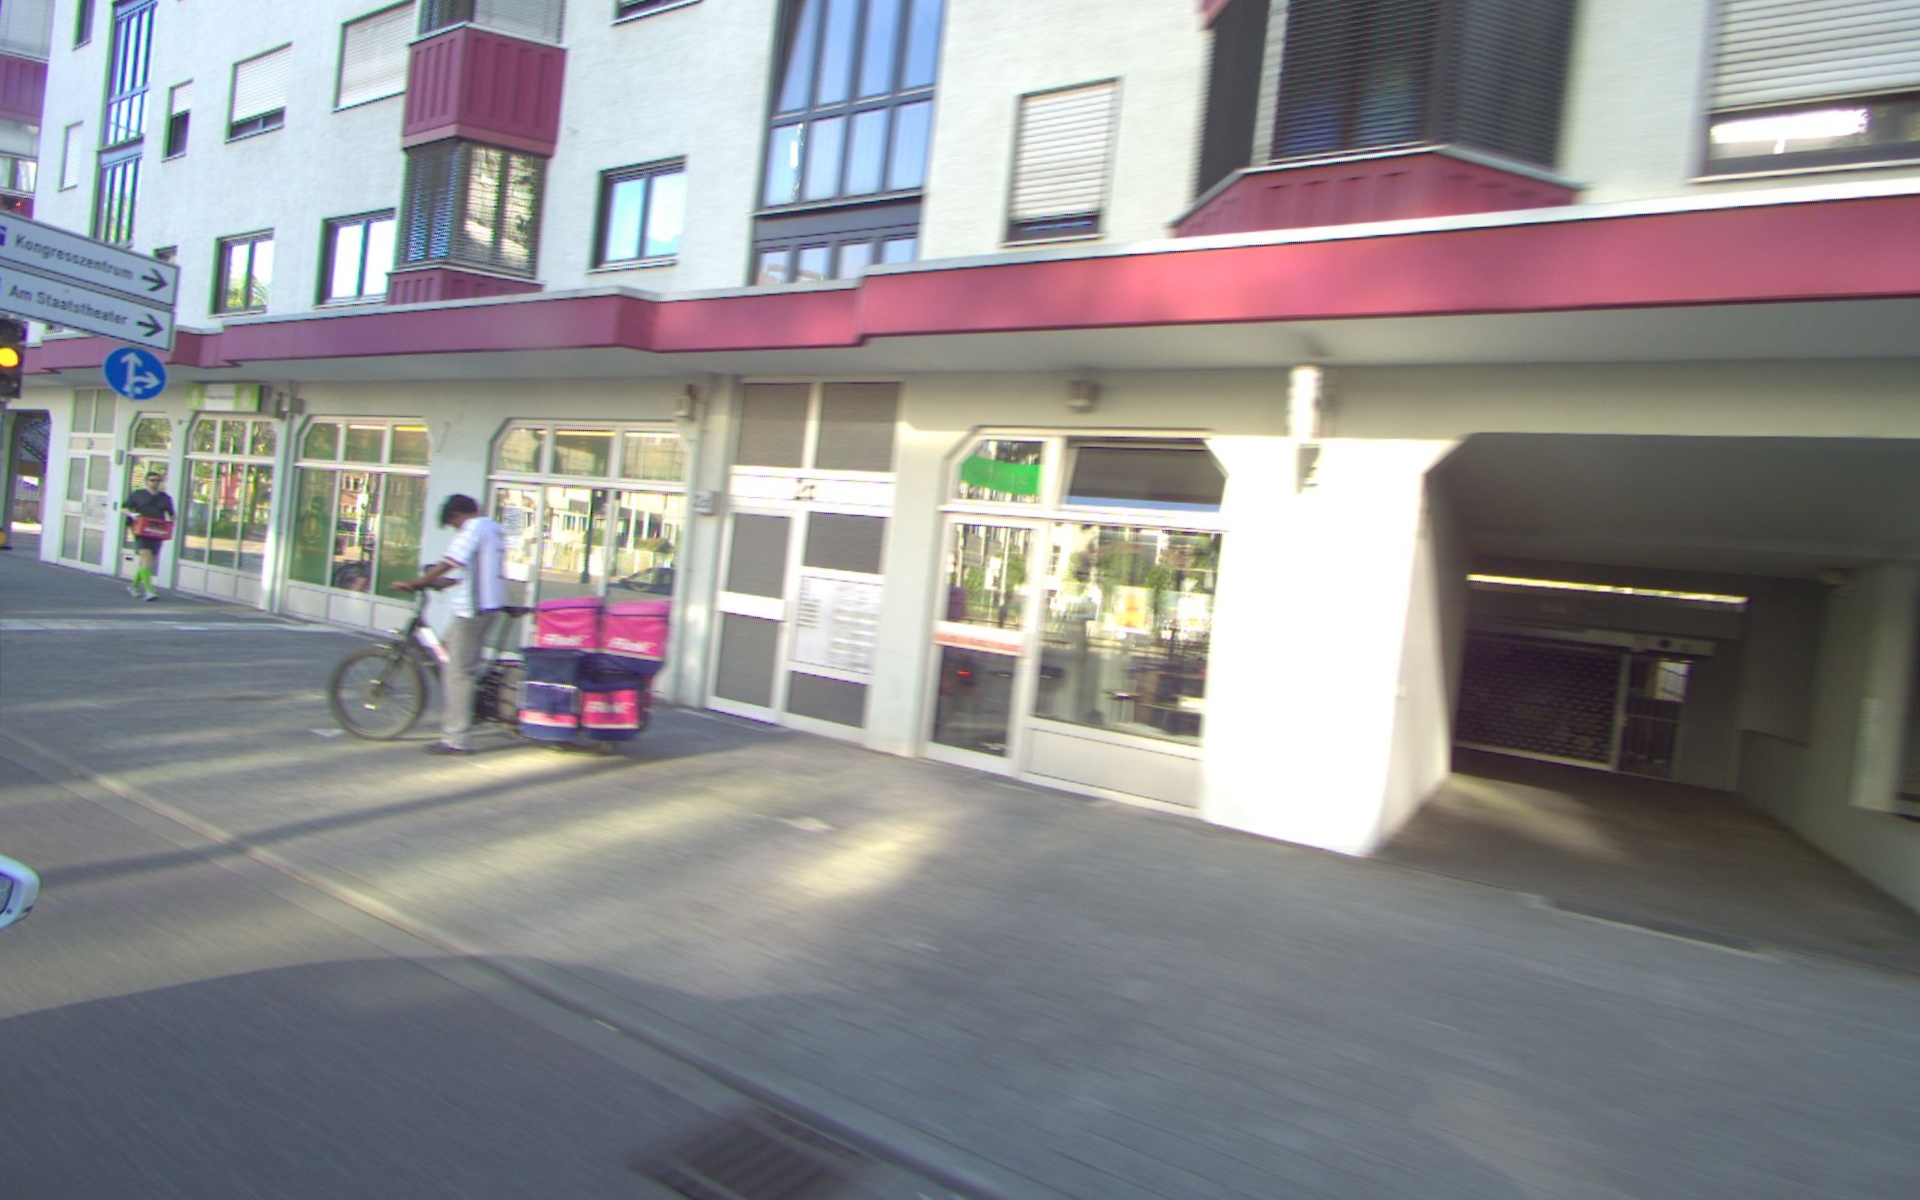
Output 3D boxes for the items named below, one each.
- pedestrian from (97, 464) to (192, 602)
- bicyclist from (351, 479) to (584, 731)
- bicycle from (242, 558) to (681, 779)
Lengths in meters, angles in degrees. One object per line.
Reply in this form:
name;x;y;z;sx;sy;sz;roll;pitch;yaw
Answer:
pedestrian;-11.866;-0.961;14.643;0.787;1.881;0.723;7;1;31
bicyclist;-3.466;0.039;7.219;1.060;1.559;1.059;6;1;-6
bicycle;-3.454;0.471;7.233;2.552;1.198;0.962;7;1;-6
